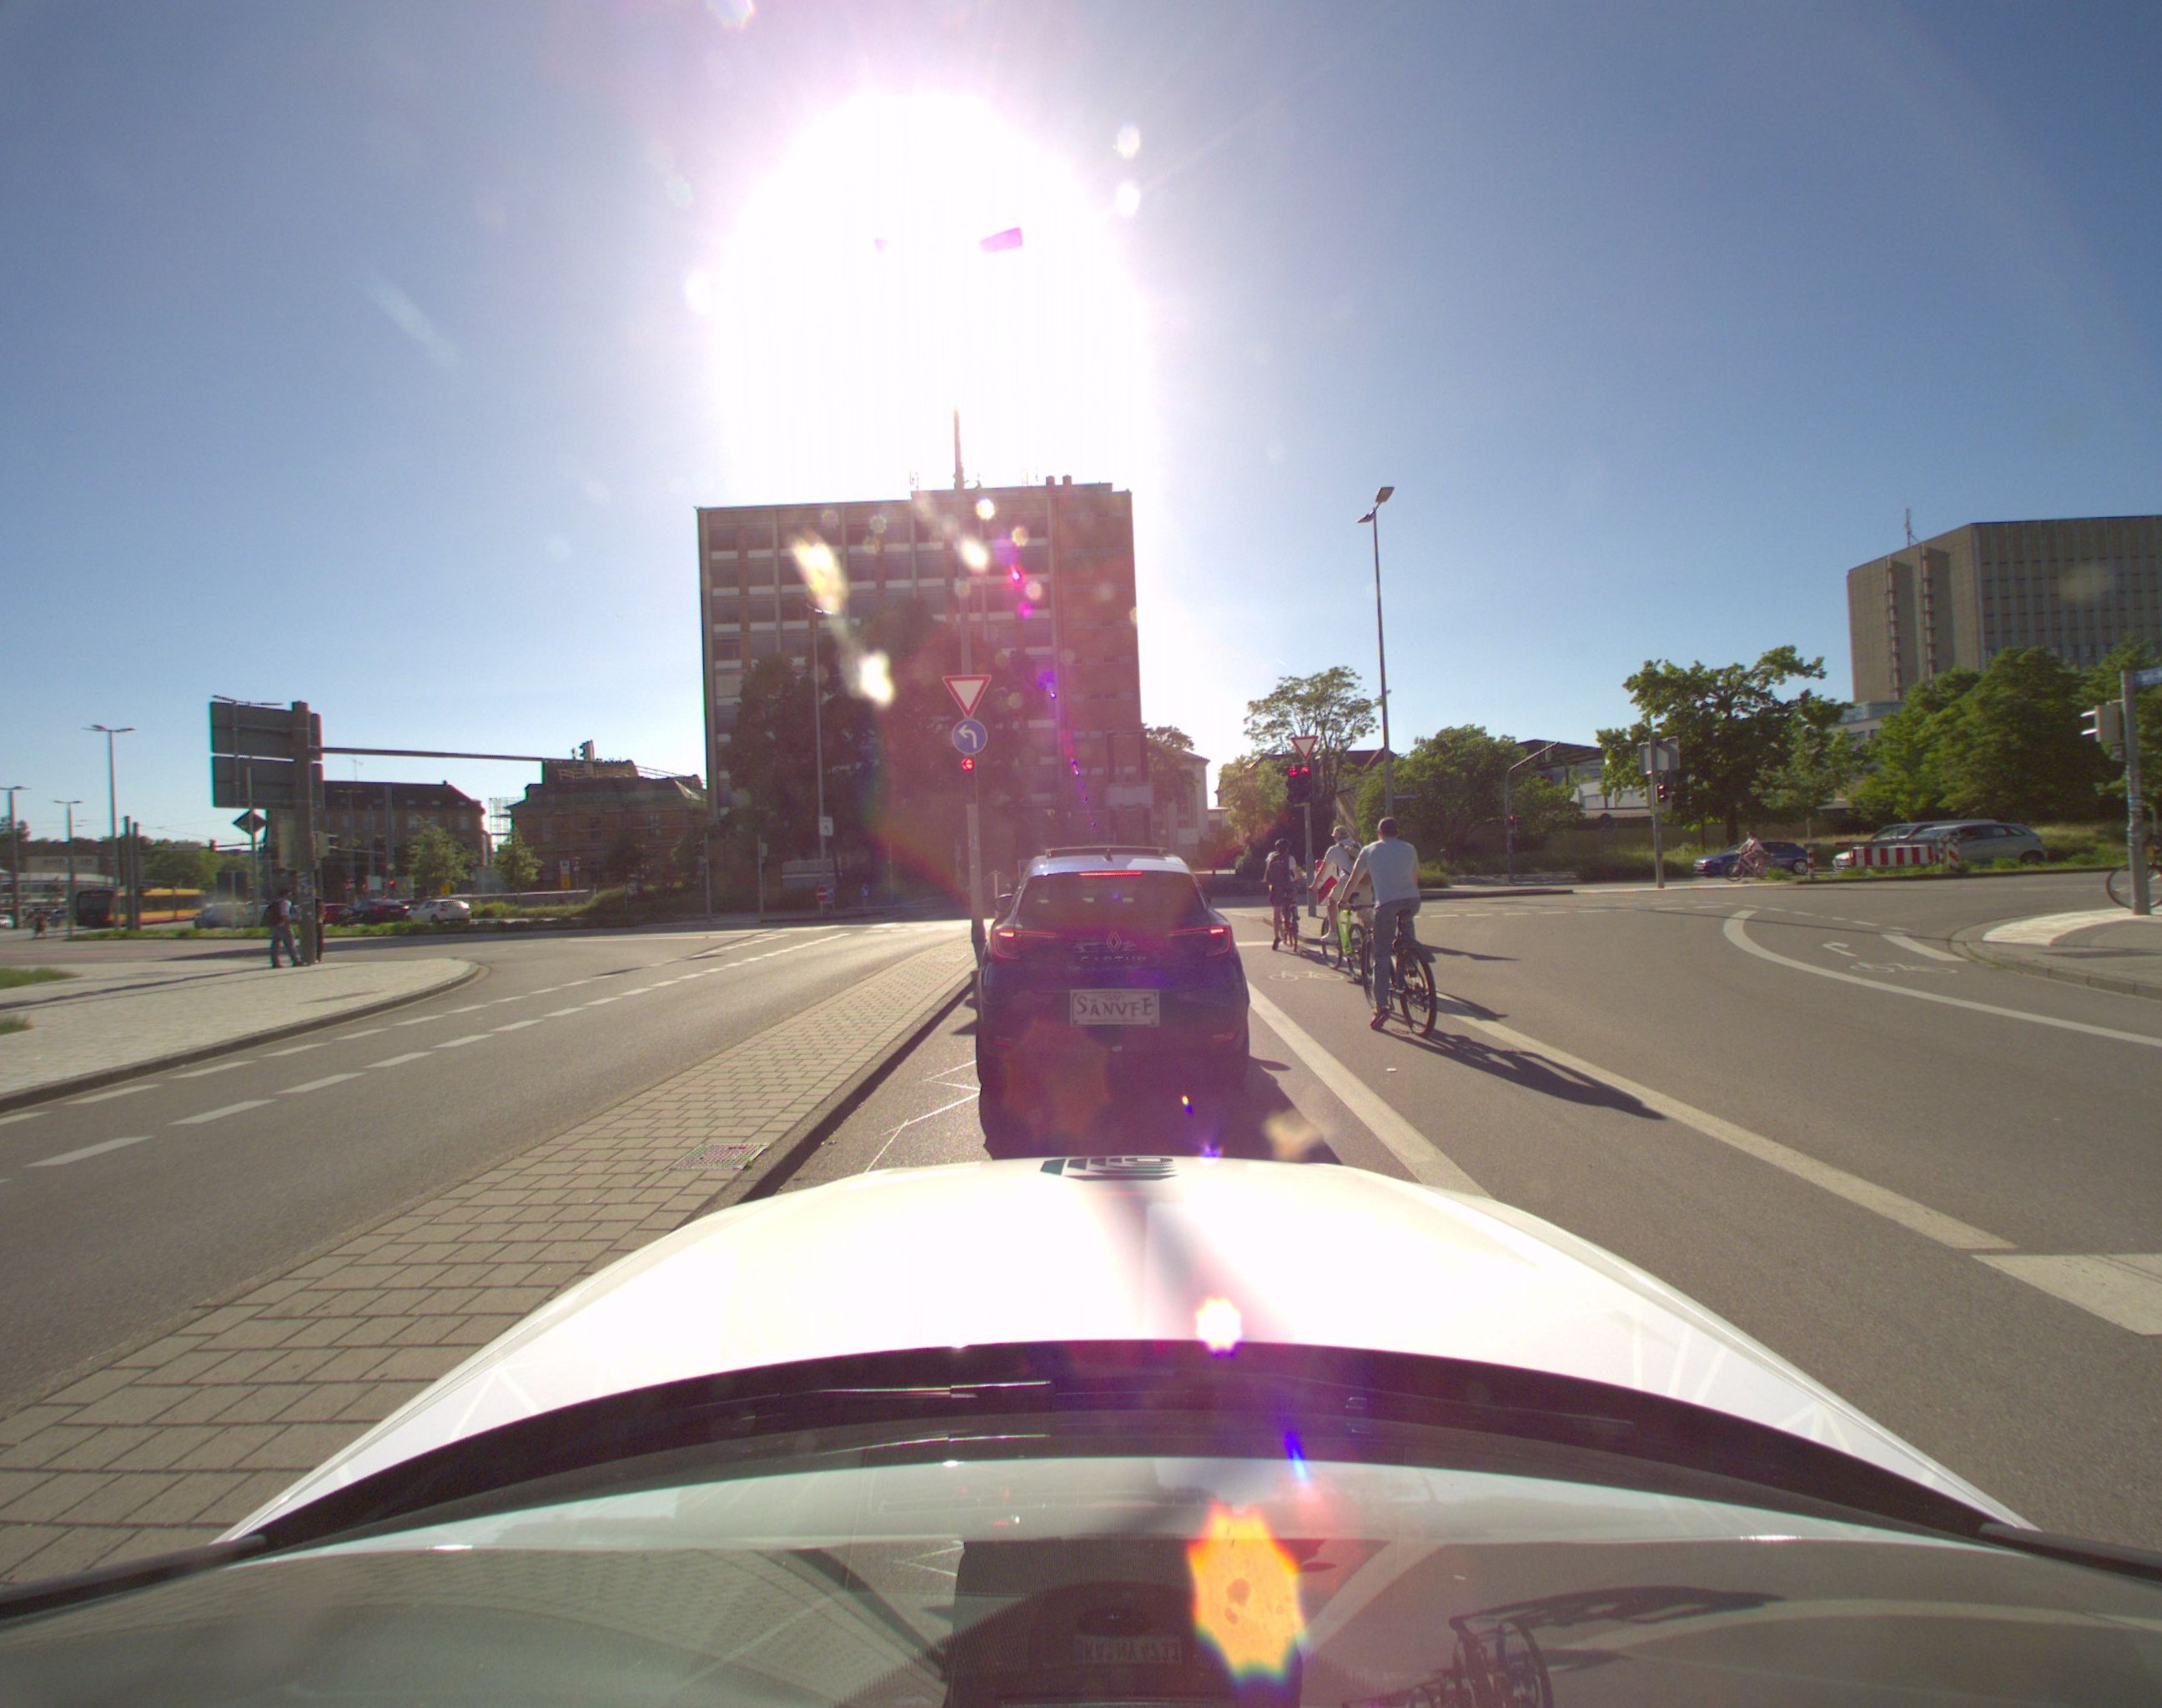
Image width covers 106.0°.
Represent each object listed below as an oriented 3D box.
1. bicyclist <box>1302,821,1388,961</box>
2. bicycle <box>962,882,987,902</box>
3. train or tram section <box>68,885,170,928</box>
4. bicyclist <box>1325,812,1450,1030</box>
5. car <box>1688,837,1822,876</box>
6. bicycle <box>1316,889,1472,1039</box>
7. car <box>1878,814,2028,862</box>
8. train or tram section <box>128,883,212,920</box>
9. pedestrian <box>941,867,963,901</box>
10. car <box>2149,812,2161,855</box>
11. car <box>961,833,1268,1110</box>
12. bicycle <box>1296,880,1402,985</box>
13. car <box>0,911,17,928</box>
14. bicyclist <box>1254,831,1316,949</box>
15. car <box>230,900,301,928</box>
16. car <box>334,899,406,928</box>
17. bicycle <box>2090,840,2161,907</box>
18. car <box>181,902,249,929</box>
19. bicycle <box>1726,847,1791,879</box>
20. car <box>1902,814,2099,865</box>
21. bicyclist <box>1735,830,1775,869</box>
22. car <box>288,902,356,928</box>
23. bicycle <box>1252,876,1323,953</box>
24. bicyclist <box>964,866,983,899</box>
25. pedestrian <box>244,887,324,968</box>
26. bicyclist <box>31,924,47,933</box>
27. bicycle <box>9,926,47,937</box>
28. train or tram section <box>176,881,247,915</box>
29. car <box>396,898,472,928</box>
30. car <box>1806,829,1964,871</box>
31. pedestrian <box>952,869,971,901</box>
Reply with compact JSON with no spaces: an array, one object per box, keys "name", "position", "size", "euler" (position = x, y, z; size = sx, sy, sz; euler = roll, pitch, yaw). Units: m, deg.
[{"name":"bicyclist","position":[3.190,0.430,9.936],"size":[0.676,1.594,1.142],"euler":[-1,-1,1]},{"name":"bicycle","position":[-5.757,2.040,44.082],"size":[0.751,0.985,2.098],"euler":[-2,0,8]},{"name":"train or tram section","position":[-86.050,4.588,73.115],"size":[2.710,3.232,10.495],"euler":[0,-1,-31]},{"name":"bicyclist","position":[2.713,0.556,7.321],"size":[0.680,1.791,1.142],"euler":[-1,-1,2]},{"name":"car","position":[28.137,0.104,34.105],"size":[3.965,1.398,1.798],"euler":[-3,-1,7]},{"name":"bicycle","position":[2.716,0.898,7.311],"size":[0.687,1.089,1.923],"euler":[-1,0,2]},{"name":"car","position":[35.872,-0.619,33.606],"size":[3.965,1.749,1.798],"euler":[-2,-1,7]},{"name":"train or tram section","position":[-91.515,4.700,82.051],"size":[2.710,3.232,10.495],"euler":[0,-1,-31]},{"name":"pedestrian","position":[-7.198,1.655,45.451],"size":[0.807,1.862,0.913],"euler":[-3,-1,15]},{"name":"car","position":[36.903,-0.763,25.330],"size":[4.534,1.398,1.798],"euler":[-3,-1,7]},{"name":"car","position":[0.200,0.703,6.765],"size":[1.783,1.585,3.913],"euler":[-1,0,0]},{"name":"bicycle","position":[3.190,0.889,9.899],"size":[0.687,1.089,1.923],"euler":[-1,0,2]},{"name":"car","position":[-112.048,6.785,84.203],"size":[1.753,1.651,3.952],"euler":[-2,-1,-42]},{"name":"bicyclist","position":[3.259,0.559,13.101],"size":[0.697,1.791,1.142],"euler":[-1,-1,2]},{"name":"car","position":[-48.863,3.600,48.802],"size":[3.834,1.508,1.805],"euler":[-3,-1,25]},{"name":"car","position":[-42.549,3.559,48.738],"size":[3.834,1.508,1.805],"euler":[-3,-1,25]},{"name":"bicycle","position":[15.917,0.267,11.625],"size":[0.640,0.958,1.866],"euler":[-2,-1,-39]},{"name":"car","position":[-54.912,3.887,51.634],"size":[3.834,1.508,1.805],"euler":[-3,-1,25]},{"name":"bicycle","position":[24.141,0.320,29.034],"size":[1.673,1.033,0.612],"euler":[-2,-1,7]},{"name":"car","position":[29.222,-0.435,26.000],"size":[3.965,1.398,1.798],"euler":[-3,-1,7]},{"name":"bicyclist","position":[24.037,-0.161,29.050],"size":[0.870,1.343,0.612],"euler":[-2,-1,7]},{"name":"car","position":[-48.206,3.865,51.706],"size":[3.834,1.508,1.805],"euler":[-3,-1,25]},{"name":"bicycle","position":[3.275,0.927,13.090],"size":[0.687,1.089,1.923],"euler":[-1,0,2]},{"name":"bicyclist","position":[-5.794,1.524,43.980],"size":[0.751,1.716,1.001],"euler":[-2,-1,7]},{"name":"pedestrian","position":[-18.042,1.636,18.451],"size":[0.647,1.730,1.066],"euler":[-3,-1,15]},{"name":"bicyclist","position":[-66.273,4.742,51.791],"size":[0.425,0.549,0.575],"euler":[-3,-1,42]},{"name":"bicycle","position":[-66.547,4.879,51.476],"size":[0.429,0.549,1.419],"euler":[-3,-1,42]},{"name":"train or tram section","position":[-96.959,4.812,90.999],"size":[2.710,3.232,10.495],"euler":[0,-1,-31]},{"name":"car","position":[-36.393,3.332,45.833],"size":[3.834,1.508,1.805],"euler":[-3,-1,25]},{"name":"car","position":[30.298,-0.137,30.792],"size":[3.965,1.398,1.798],"euler":[-3,-1,7]},{"name":"pedestrian","position":[-6.549,1.684,44.638],"size":[0.675,1.730,0.764],"euler":[-3,-1,15]}]
